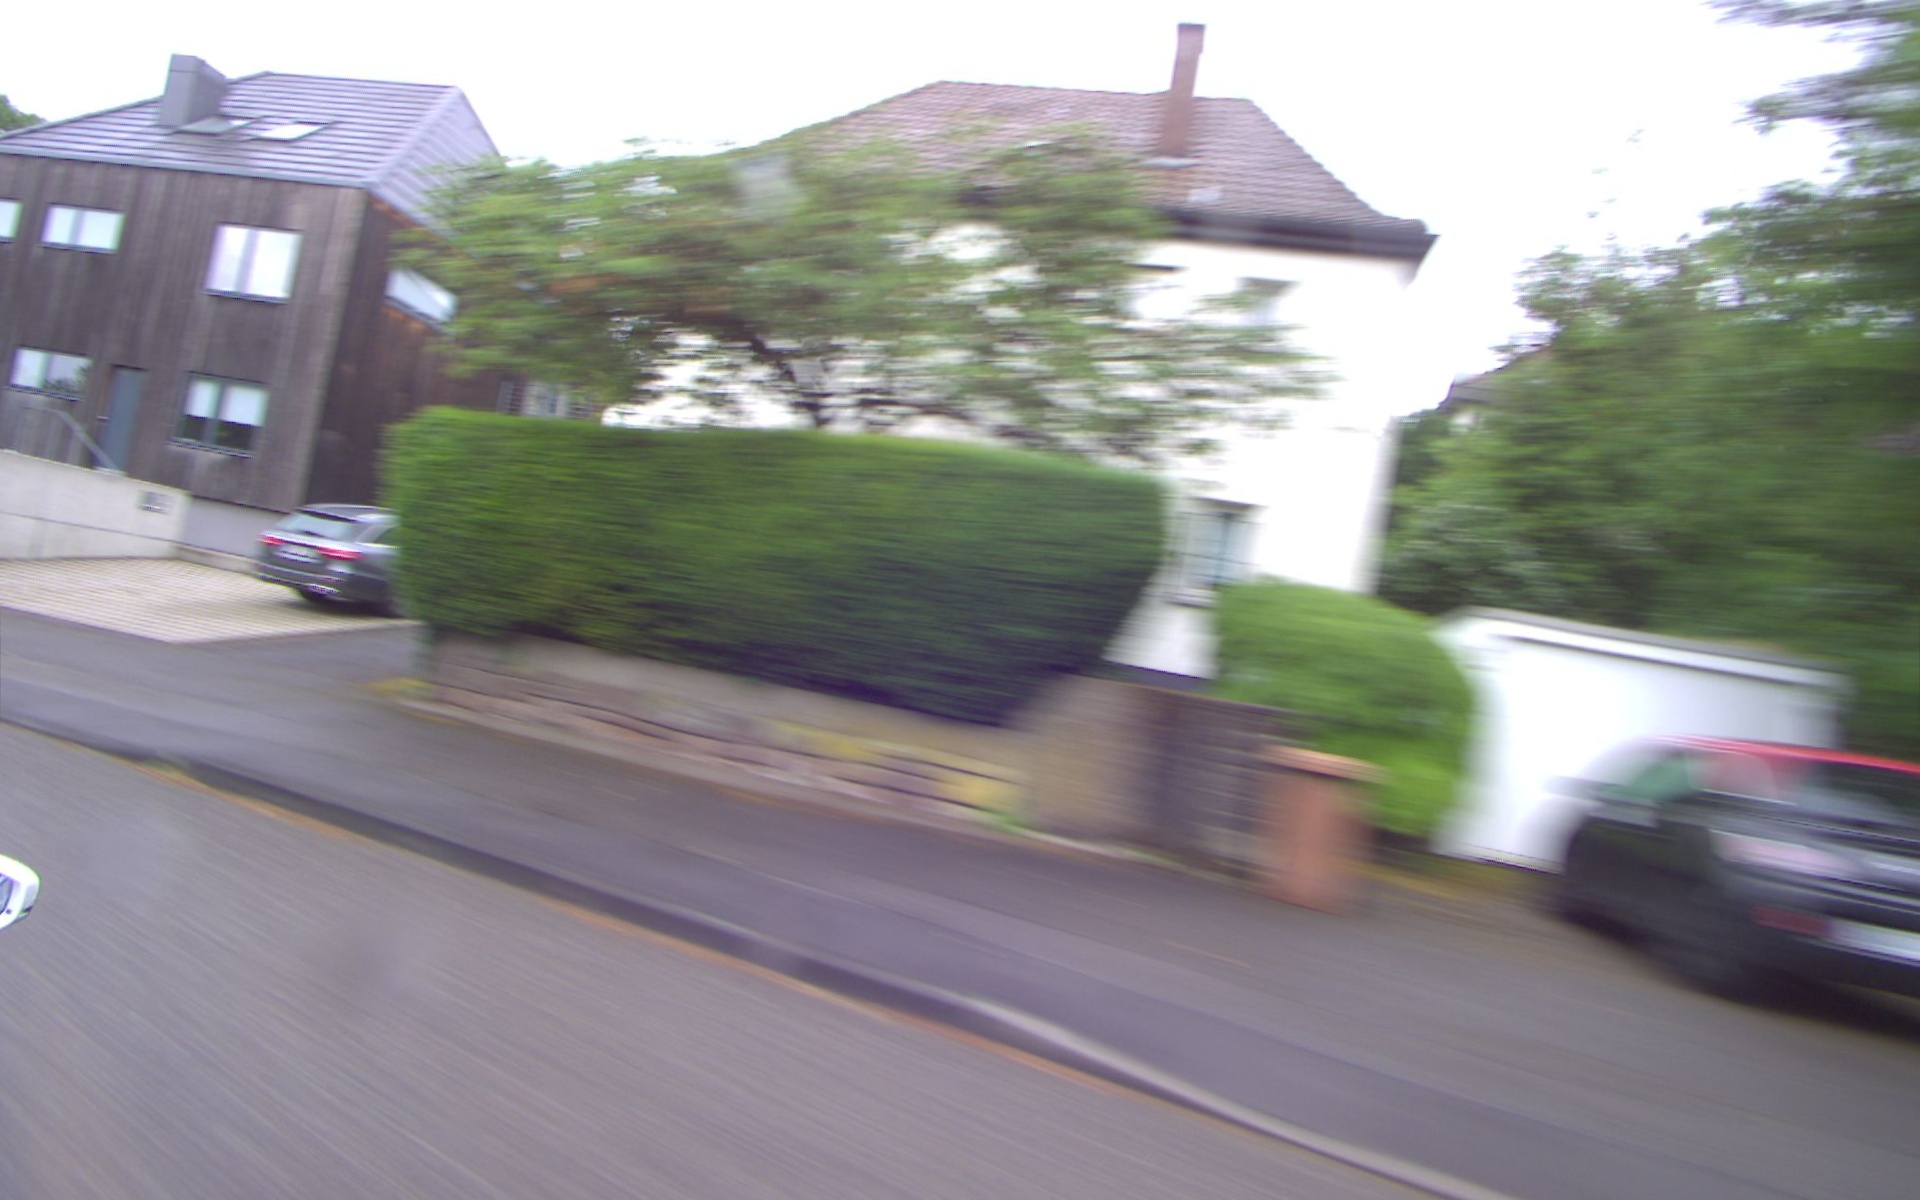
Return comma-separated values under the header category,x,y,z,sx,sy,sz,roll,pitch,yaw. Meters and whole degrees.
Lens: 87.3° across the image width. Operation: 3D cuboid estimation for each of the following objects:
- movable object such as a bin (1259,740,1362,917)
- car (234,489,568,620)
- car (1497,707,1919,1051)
category,x,y,z,sx,sy,sz,roll,pitch,yaw
movable object such as a bin,2.120,1.355,6.072,0.455,0.931,0.420,8,-1,22
car,-8.470,-0.619,15.812,1.775,1.550,4.570,9,2,15
car,5.234,1.630,6.738,1.739,1.511,4.010,9,-4,14
